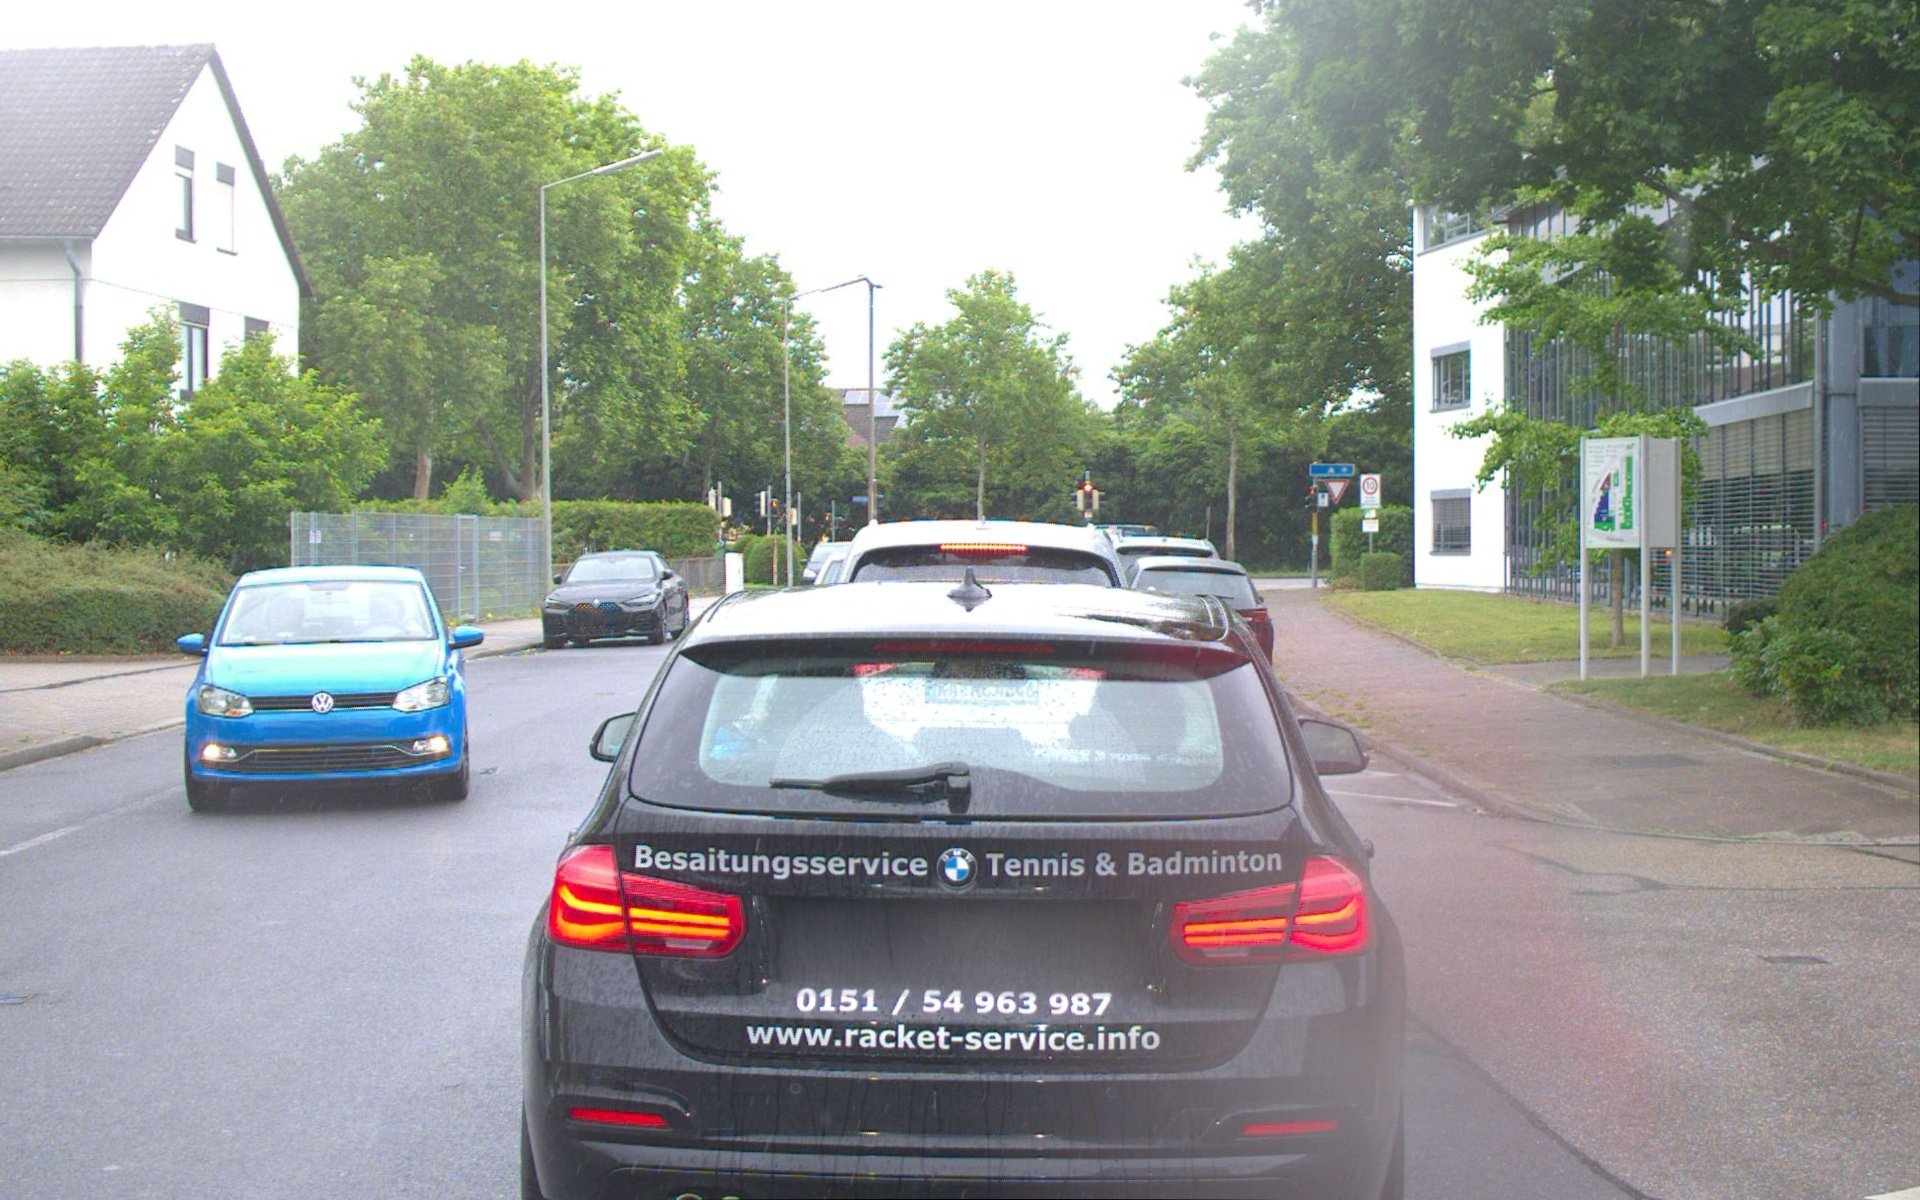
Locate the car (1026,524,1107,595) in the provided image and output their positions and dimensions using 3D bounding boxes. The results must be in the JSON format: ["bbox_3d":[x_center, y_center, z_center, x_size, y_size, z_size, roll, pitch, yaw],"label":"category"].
[{"bbox_3d":[2.420,-0.944,78.677,1.804,1.581,4.000,0,1,1],"label":"car"}]

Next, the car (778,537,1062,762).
[{"bbox_3d":[-0.385,0.334,26.321,1.804,1.581,4.001,0,1,-6],"label":"car"}]

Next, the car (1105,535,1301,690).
[{"bbox_3d":[2.591,0.110,37.460,1.804,1.581,4.000,0,1,-1],"label":"car"}]

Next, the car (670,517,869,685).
[{"bbox_3d":[-1.857,-0.010,34.521,1.804,1.581,4.000,0,1,-1],"label":"car"}]

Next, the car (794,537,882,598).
[{"bbox_3d":[-3.005,-0.818,85.124,1.706,1.362,3.838,-2,1,4],"label":"car"}]

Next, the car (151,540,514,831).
[{"bbox_3d":[-3.876,0.461,21.814,1.705,1.589,3.838,-3,1,-3],"label":"car"}]

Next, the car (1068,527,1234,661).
[{"bbox_3d":[2.331,-0.093,42.845,1.804,1.581,4.000,0,1,-1],"label":"car"}]

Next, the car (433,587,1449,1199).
[{"bbox_3d":[-0.068,0.685,8.131,1.804,1.390,4.000,0,1,-1],"label":"car"}]

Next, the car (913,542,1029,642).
[{"bbox_3d":[0.218,-0.148,57.050,1.804,1.581,4.000,0,1,2],"label":"car"}]

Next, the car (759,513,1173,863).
[{"bbox_3d":[-0.088,0.383,17.604,1.804,1.581,4.001,0,1,-4],"label":"car"}]

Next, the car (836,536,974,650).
[{"bbox_3d":[-0.758,-0.118,49.924,1.804,1.581,4.000,0,1,2],"label":"car"}]

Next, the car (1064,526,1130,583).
[{"bbox_3d":[3.836,-1.295,96.846,1.804,1.581,4.000,0,1,1],"label":"car"}]

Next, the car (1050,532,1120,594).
[{"bbox_3d":[3.258,-0.998,90.169,1.804,1.581,4.000,0,1,1],"label":"car"}]

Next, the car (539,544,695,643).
[{"bbox_3d":[-5.274,-0.132,53.324,1.706,1.362,3.838,-2,1,4],"label":"car"}]
